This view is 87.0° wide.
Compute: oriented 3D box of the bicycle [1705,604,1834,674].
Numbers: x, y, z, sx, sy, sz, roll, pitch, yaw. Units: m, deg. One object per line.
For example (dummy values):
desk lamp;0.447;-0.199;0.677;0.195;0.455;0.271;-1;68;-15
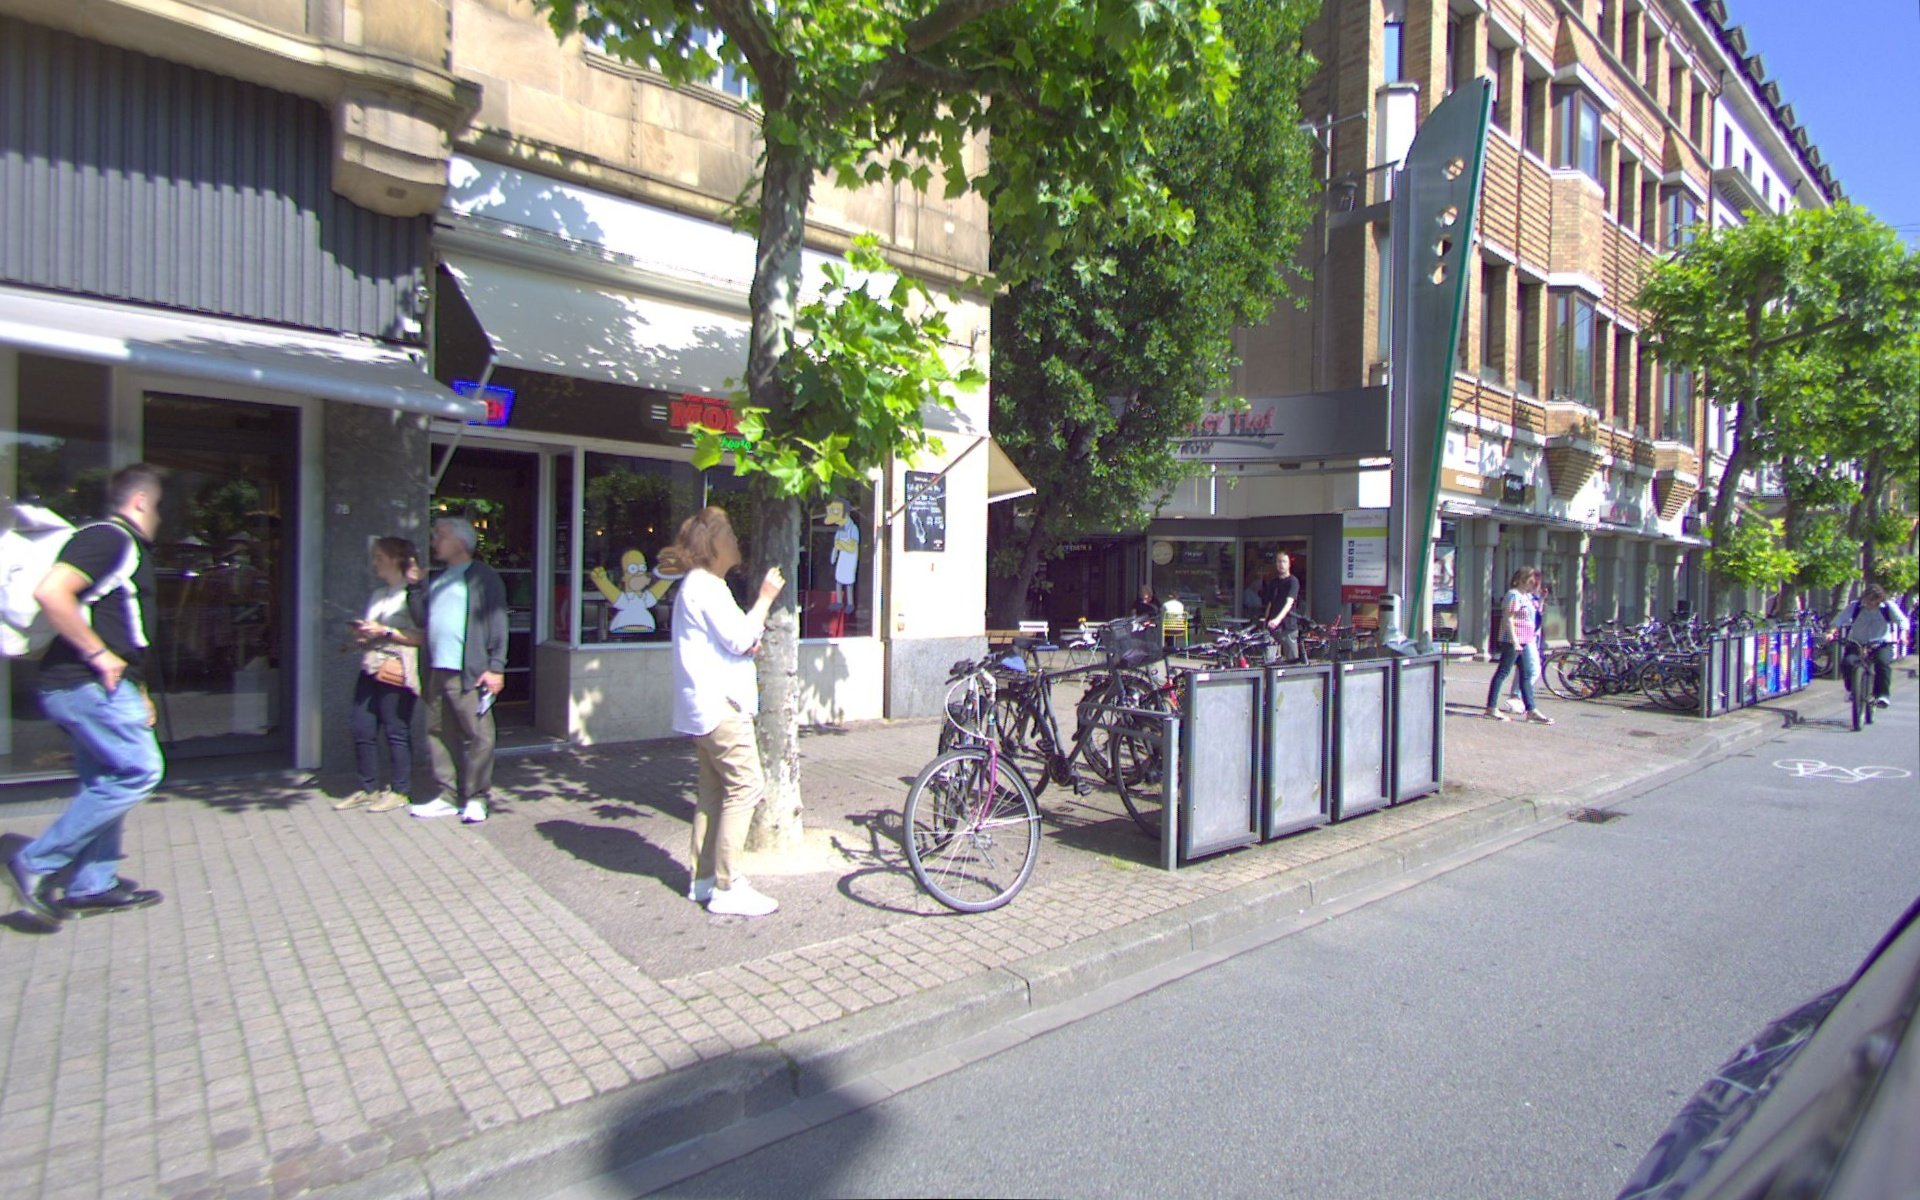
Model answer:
bicycle;14.558;0.680;18.243;0.474;1.161;1.755;0;1;-42

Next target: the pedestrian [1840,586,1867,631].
pedestrian;35.120;0.335;39.783;0.664;1.718;0.658;0;-1;-39

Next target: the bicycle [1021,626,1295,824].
bicycle;1.207;0.719;6.491;0.547;1.031;1.755;0;1;-42

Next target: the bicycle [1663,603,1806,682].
bicycle;12.329;0.649;16.150;0.474;1.161;1.755;0;1;-42

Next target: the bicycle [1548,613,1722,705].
bicycle;8.460;0.706;12.748;0.474;1.031;1.755;0;1;-42

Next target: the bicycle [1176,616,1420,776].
bicycle;2.504;0.664;7.681;0.474;1.031;1.755;0;1;-42

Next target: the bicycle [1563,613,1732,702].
bicycle;8.869;0.707;13.122;0.474;1.031;1.755;0;1;-42

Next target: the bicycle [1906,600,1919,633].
bicycle;34.550;0.601;35.634;0.474;1.161;1.755;0;1;-42

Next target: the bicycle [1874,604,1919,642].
bicycle;28.082;0.680;29.744;0.474;1.101;1.755;0;1;-42

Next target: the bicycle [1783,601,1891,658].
bicycle;19.384;0.630;22.390;0.474;1.161;1.755;0;1;-42

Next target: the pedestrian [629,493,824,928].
pedestrian;-1.027;0.421;4.407;0.641;1.704;0.659;-1;1;-33

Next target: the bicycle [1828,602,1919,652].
bicycle;23.152;0.664;25.615;0.474;1.202;1.755;0;1;-42

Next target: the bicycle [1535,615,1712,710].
bicycle;8.087;0.723;12.397;0.474;1.031;1.755;0;1;-42

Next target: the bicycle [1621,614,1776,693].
bicycle;10.663;0.741;14.664;0.474;1.031;1.755;0;1;-42

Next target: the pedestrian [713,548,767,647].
pedestrian;-2.366;-0.022;10.897;0.398;1.036;0.455;0;-1;-40

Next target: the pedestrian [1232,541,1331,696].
pedestrian;3.895;0.202;12.254;0.966;1.803;0.670;0;1;-36

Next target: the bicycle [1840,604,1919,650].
bicycle;24.406;0.703;26.692;0.518;1.161;1.755;0;1;-42

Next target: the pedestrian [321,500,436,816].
pedestrian;-3.250;0.309;5.676;0.467;1.703;0.383;1;2;-14

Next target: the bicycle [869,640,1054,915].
bicycle;-0.068;0.768;5.075;0.644;1.031;1.761;0;1;-9

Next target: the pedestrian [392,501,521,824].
pedestrian;-2.772;0.323;5.610;0.526;1.703;0.501;1;2;-12

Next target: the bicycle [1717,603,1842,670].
bicycle;15.274;0.662;18.901;0.474;1.161;1.755;0;1;-42

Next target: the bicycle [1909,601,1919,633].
bicycle;35.427;0.634;36.482;0.582;1.161;1.755;0;1;-42

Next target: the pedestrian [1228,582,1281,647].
pedestrian;5.880;0.288;20.205;0.628;1.271;0.793;0;-1;-36

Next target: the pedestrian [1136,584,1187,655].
pedestrian;3.689;0.344;18.530;0.636;1.271;0.783;-1;-1;37

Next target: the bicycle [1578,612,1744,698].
bicycle;9.317;0.699;13.506;0.474;1.031;1.755;0;1;-42

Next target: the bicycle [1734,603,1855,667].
bicycle;16.102;0.652;19.561;0.474;1.161;1.755;0;1;-42

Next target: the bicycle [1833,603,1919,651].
bicycle;23.599;0.675;25.988;0.474;1.161;1.755;0;1;-42

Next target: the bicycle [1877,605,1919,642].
bicycle;28.468;0.695;30.065;0.474;1.082;1.755;0;1;-42

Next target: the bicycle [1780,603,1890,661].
bicycle;19.030;0.674;22.038;0.474;1.161;1.755;0;1;-42

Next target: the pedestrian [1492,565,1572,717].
pedestrian;6.520;0.434;11.534;0.693;1.646;0.693;2;2;35

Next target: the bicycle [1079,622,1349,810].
bicycle;1.670;0.713;6.903;0.577;1.030;1.755;0;2;-42

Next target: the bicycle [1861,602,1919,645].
bicycle;26.578;0.664;28.510;0.474;1.161;1.755;0;1;-42

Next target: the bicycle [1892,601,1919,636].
bicycle;33.051;0.637;34.579;0.474;1.161;1.755;0;1;-42

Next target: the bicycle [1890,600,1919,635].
bicycle;32.536;0.611;34.067;0.474;1.161;1.776;0;1;-42

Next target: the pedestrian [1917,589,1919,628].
pedestrian;45.826;0.397;47.891;0.763;1.805;0.720;0;-1;-42

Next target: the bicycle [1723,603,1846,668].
bicycle;15.646;0.649;19.239;0.474;1.161;1.755;0;1;-42

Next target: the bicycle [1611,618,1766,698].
bicycle;10.220;0.786;14.249;0.474;0.997;1.719;0;1;-42

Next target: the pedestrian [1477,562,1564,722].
pedestrian;6.073;0.429;10.968;0.599;1.646;0.634;5;3;43

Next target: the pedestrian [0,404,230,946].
pedestrian;-3.397;0.244;3.916;0.874;1.871;0.818;0;2;-33

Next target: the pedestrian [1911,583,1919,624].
pedestrian;42.633;0.147;44.830;0.763;1.816;0.634;0;-1;-42

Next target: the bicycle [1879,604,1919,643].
bicycle;28.862;0.716;30.458;0.474;1.161;1.755;0;1;-42

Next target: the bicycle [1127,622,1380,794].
bicycle;2.041;0.704;7.248;0.474;1.031;1.755;0;1;-42

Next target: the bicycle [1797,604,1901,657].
bicycle;20.581;0.687;23.458;0.491;1.161;1.755;0;1;-42

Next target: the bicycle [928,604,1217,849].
bicycle;0.593;0.642;5.944;0.569;1.196;1.755;0;1;-42

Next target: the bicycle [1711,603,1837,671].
bicycle;14.911;0.653;18.580;0.474;1.161;1.755;0;1;-42

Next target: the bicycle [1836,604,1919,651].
bicycle;23.989;0.695;26.349;0.474;1.161;1.755;0;1;-42

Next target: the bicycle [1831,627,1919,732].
bicycle;11.036;0.899;12.076;1.865;1.107;0.735;0;-1;-42

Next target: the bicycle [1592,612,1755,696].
bicycle;9.727;0.706;13.852;0.474;1.031;1.755;0;1;-42

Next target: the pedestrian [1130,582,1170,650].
pedestrian;3.631;0.311;19.391;0.628;1.271;0.793;-1;-1;3

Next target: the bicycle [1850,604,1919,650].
bicycle;24.977;0.712;27.053;0.474;1.161;1.755;0;1;-42

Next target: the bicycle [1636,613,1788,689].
bicycle;11.196;0.728;15.117;0.474;1.031;1.755;0;1;-42

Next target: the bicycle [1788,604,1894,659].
bicycle;19.752;0.683;22.714;0.474;1.161;1.755;0;1;-42

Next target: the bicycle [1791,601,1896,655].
bicycle;20.120;0.611;23.066;0.474;1.161;1.755;0;1;-42

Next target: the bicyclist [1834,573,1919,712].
bicyclist;11.035;0.488;12.110;0.764;1.597;0.749;0;-1;-41
